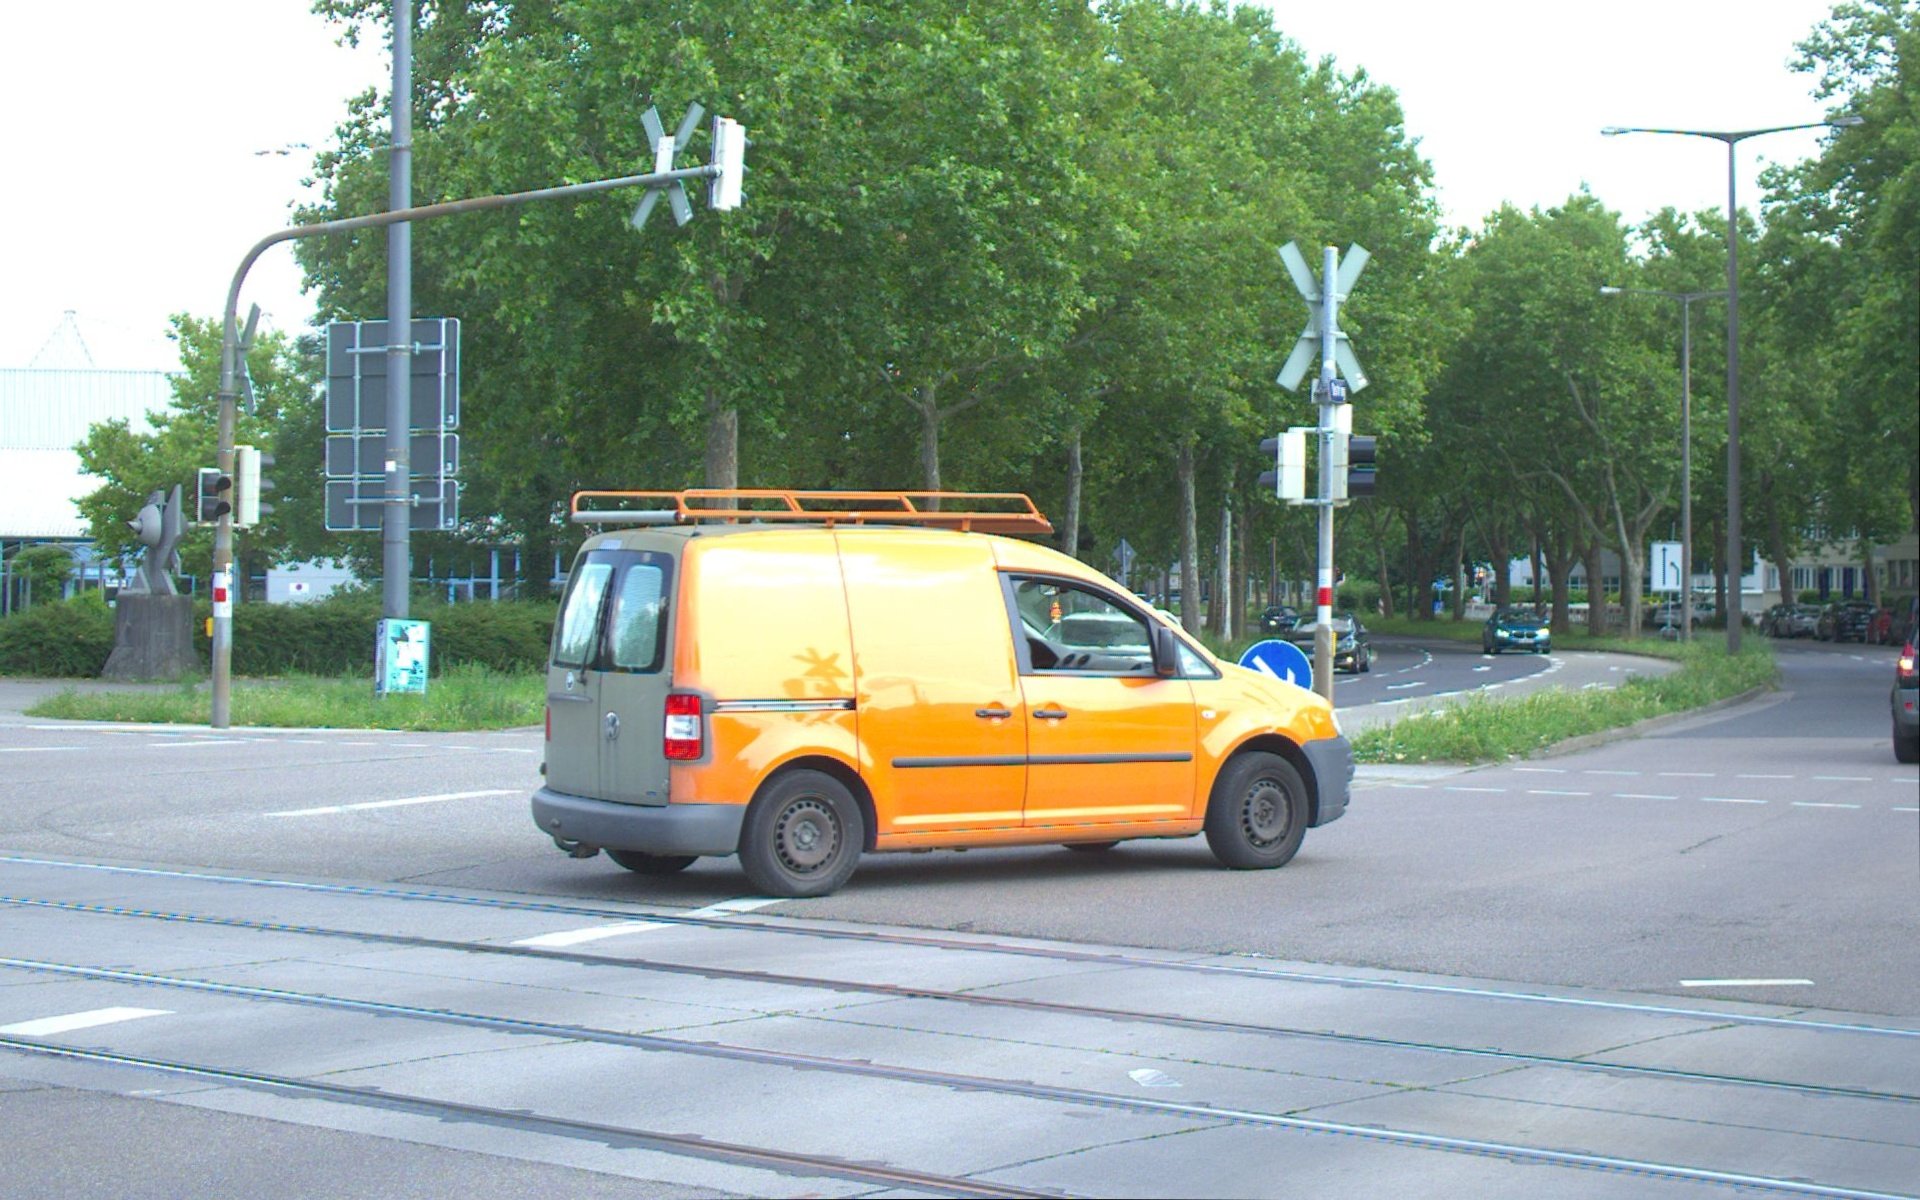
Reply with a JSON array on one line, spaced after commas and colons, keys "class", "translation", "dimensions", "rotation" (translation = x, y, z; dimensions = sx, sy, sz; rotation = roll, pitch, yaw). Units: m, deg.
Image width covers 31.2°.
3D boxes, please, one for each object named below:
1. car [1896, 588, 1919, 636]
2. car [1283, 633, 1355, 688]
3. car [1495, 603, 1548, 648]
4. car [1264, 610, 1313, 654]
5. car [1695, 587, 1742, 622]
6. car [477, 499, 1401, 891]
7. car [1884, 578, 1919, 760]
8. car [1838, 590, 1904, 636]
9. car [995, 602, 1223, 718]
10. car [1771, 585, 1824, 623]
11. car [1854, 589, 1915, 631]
[{"class": "car", "translation": [34.861, 0.426, 123.348], "dimensions": [1.994, 1.568, 3.999], "rotation": [0, 2, 8]}, {"class": "car", "translation": [8.442, 1.401, 80.798], "dimensions": [1.635, 1.187, 3.707], "rotation": [1, 0, 6]}, {"class": "car", "translation": [18.133, 0.820, 111.106], "dimensions": [1.657, 1.267, 3.770], "rotation": [0, 2, 9]}, {"class": "car", "translation": [15.844, 1.543, 165.934], "dimensions": [1.993, 2.007, 4.000], "rotation": [1, 0, 1]}, {"class": "car", "translation": [37.927, 0.214, 171.874], "dimensions": [1.994, 1.568, 3.999], "rotation": [0, 2, 8]}, {"class": "car", "translation": [-0.070, 0.448, 17.633], "dimensions": [4.355, 1.794, 1.884], "rotation": [1, 0, -30]}, {"class": "car", "translation": [9.982, 0.628, 32.334], "dimensions": [1.732, 1.625, 4.046], "rotation": [-1, -1, 26]}, {"class": "car", "translation": [34.918, 0.477, 131.830], "dimensions": [1.994, 1.568, 3.999], "rotation": [0, 2, 8]}, {"class": "car", "translation": [1.942, 0.721, 43.610], "dimensions": [1.827, 1.360, 4.134], "rotation": [1, 0, 18]}, {"class": "car", "translation": [38.515, 0.183, 158.245], "dimensions": [1.994, 1.568, 3.999], "rotation": [0, 2, 8]}, {"class": "car", "translation": [38.254, 0.401, 142.310], "dimensions": [1.994, 1.568, 3.999], "rotation": [0, 2, 8]}]
